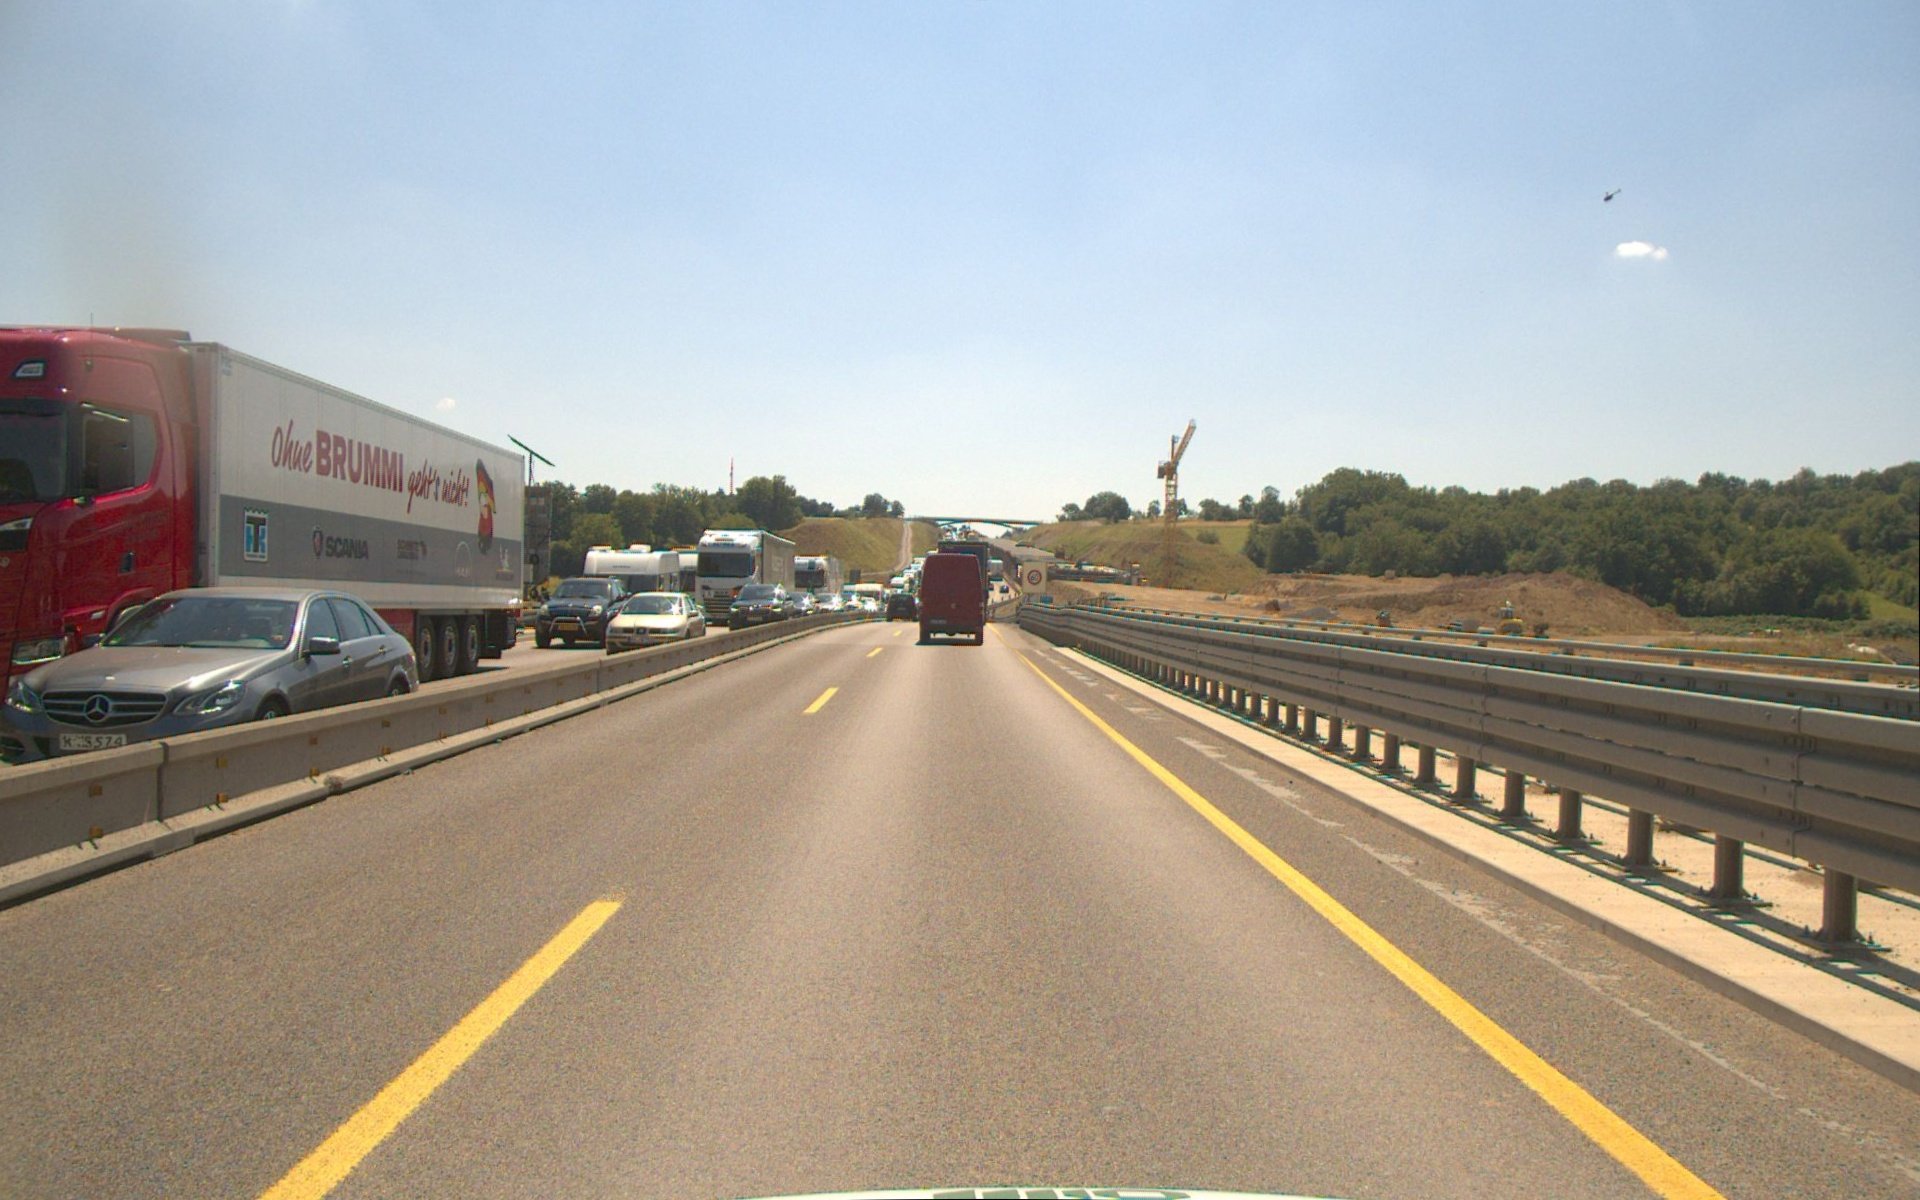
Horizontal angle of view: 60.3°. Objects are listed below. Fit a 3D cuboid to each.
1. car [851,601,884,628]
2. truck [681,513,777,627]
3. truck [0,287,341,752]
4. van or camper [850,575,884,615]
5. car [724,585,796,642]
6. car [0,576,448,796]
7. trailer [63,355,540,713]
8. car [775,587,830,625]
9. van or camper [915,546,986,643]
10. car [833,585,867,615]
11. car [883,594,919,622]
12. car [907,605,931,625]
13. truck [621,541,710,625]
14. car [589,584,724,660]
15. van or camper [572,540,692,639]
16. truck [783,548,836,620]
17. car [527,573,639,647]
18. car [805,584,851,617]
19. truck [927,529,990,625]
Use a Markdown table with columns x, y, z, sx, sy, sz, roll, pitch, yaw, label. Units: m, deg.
| x | y | z | sx | sy | sz | roll | pitch | yaw | label |
| --- | --- | --- | --- | --- | --- | --- | --- | --- | --- |
| -5.901 | 0.912 | 104.818 | 1.954 | 1.524 | 4.970 | 2 | 0 | -4 | car |
| -9.835 | -1.231 | 71.174 | 3.014 | 4.616 | 7.103 | 1 | 0 | 1 | truck |
| -9.317 | -0.774 | 17.919 | 2.758 | 4.108 | 6.522 | 1 | 1 | 0 | truck |
| -6.348 | -0.348 | 113.644 | 2.174 | 2.555 | 6.530 | 2 | 0 | -3 | van or camper |
| -6.503 | 0.410 | 54.298 | 1.810 | 1.717 | 4.618 | 2 | 0 | -1 | car |
| -5.953 | 0.575 | 13.876 | 1.851 | 1.514 | 4.919 | 0 | 0 | -1 | car |
| -9.400 | -0.871 | 25.749 | 2.749 | 4.249 | 11.797 | 1 | 1 | 0 | trailer |
| -6.479 | 0.210 | 68.431 | 1.741 | 1.445 | 4.538 | 2 | 0 | 0 | car |
| -0.347 | -0.177 | 50.402 | 1.988 | 2.792 | 4.513 | 1 | 0 | -2 | van or camper |
| -6.410 | -0.024 | 96.987 | 1.721 | 1.675 | 4.155 | 2 | 0 | -1 | car |
| -3.388 | 0.448 | 95.558 | 1.971 | 1.572 | 4.131 | 1 | 0 | -2 | car |
| -3.534 | 1.305 | 142.193 | 1.971 | 1.572 | 4.131 | 2 | 0 | -1 | car |
| -14.310 | -0.844 | 81.057 | 2.845 | 3.830 | 8.366 | 2 | 0 | -1 | truck |
| -6.572 | 0.439 | 36.236 | 1.861 | 1.487 | 4.196 | -2 | 1 | 4 | car |
| -9.617 | -0.316 | 48.946 | 2.452 | 2.746 | 5.244 | 1 | 0 | 0 | van or camper |
| -9.602 | -0.997 | 105.911 | 2.749 | 4.469 | 6.225 | 1 | 0 | 0 | truck |
| -9.529 | 0.227 | 42.143 | 1.731 | 1.765 | 4.790 | 1 | 0 | 0 | car |
| -6.497 | 0.001 | 81.731 | 1.827 | 1.484 | 4.607 | 2 | 0 | 0 | car |
| -0.121 | -1.160 | 86.090 | 2.960 | 4.775 | 6.929 | -1 | 0 | -2 | truck |
